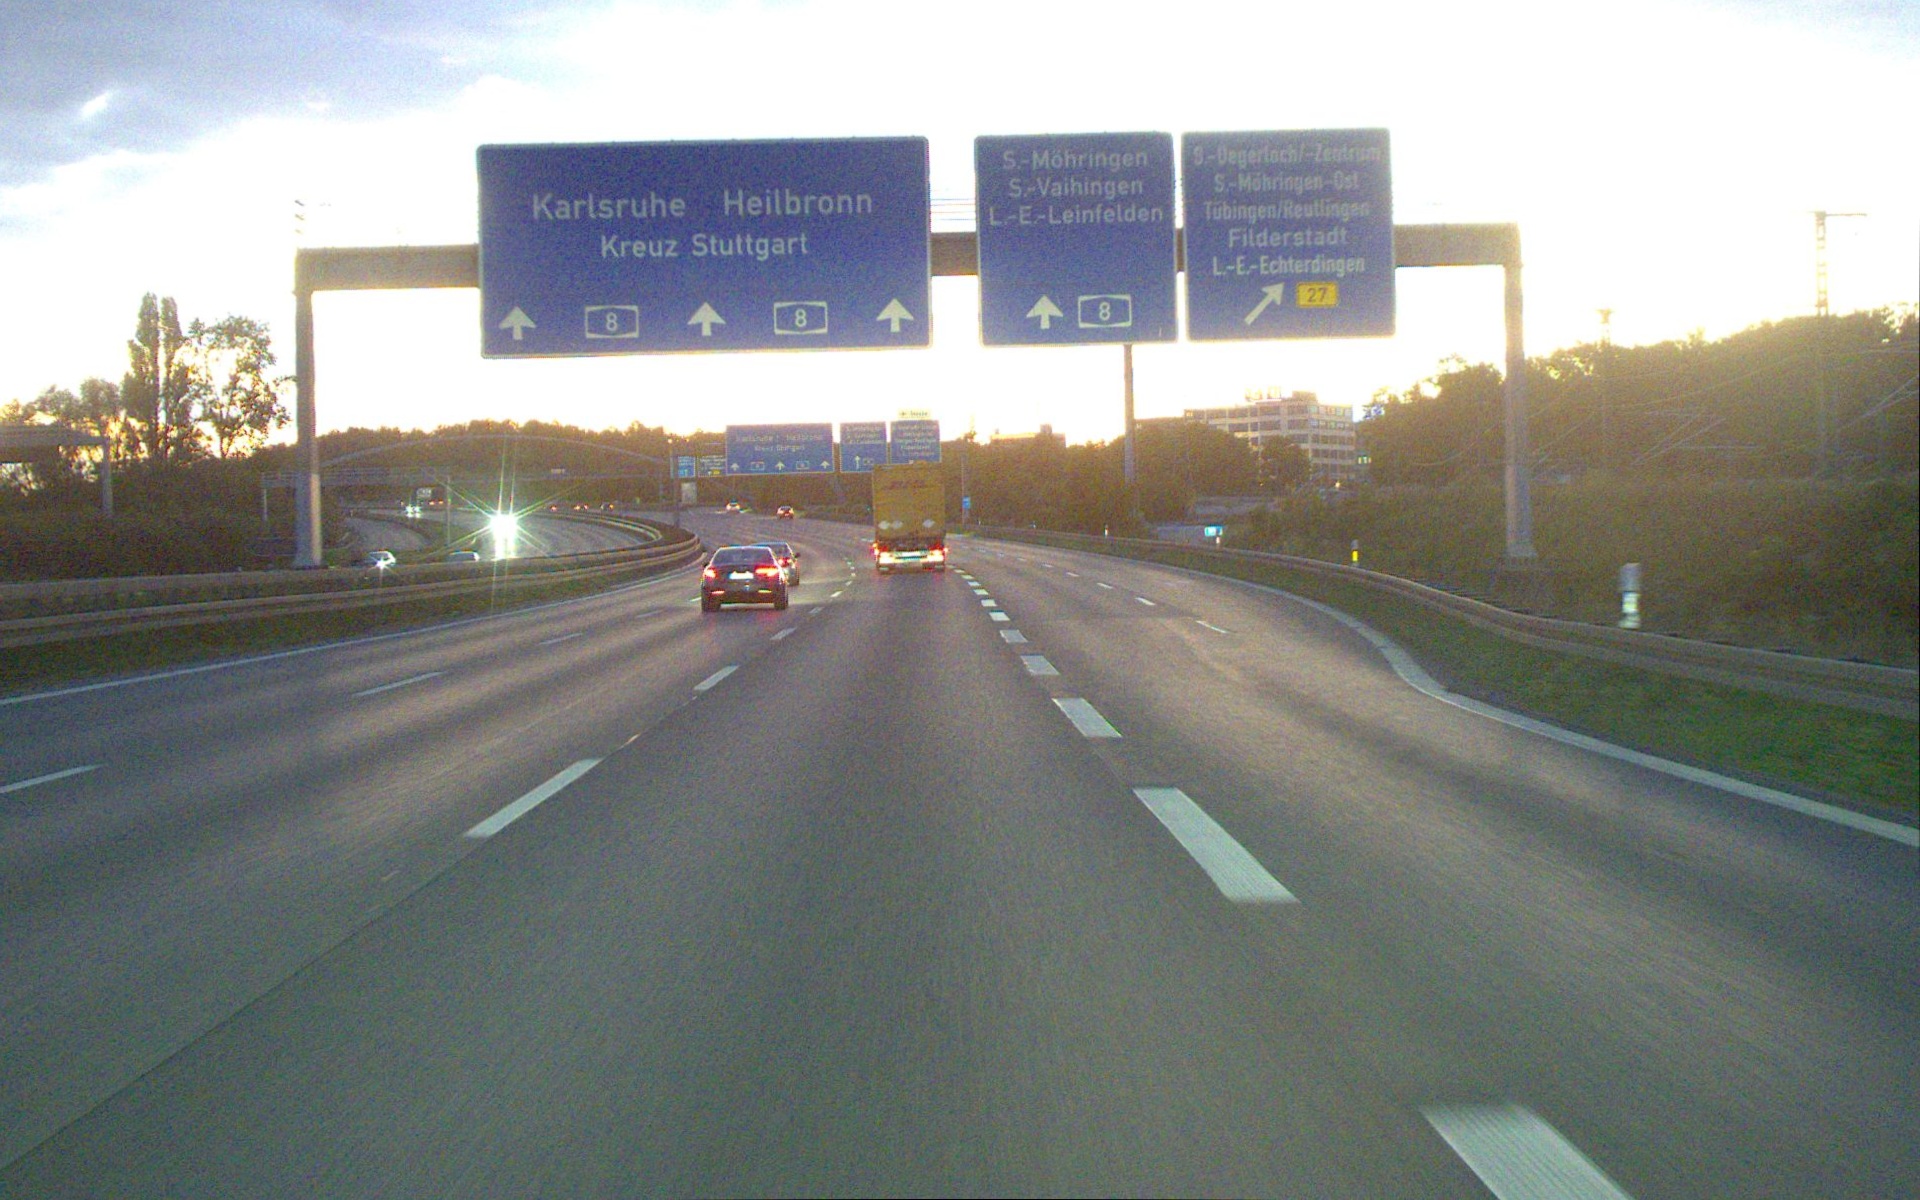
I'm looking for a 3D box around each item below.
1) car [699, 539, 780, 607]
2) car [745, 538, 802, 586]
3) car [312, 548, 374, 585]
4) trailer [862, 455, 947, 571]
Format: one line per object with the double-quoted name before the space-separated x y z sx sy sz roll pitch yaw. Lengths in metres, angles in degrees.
"car" -4.966 -0.610 77.144 1.689 1.396 3.409 -3 1 -4
"car" -5.943 -1.215 109.781 1.689 1.396 3.409 -4 1 -2
"car" -24.141 -1.308 134.661 1.689 1.396 4.429 1 0 -1
"trailer" -2.120 -3.328 128.792 2.721 4.057 8.833 -3 2 -2
